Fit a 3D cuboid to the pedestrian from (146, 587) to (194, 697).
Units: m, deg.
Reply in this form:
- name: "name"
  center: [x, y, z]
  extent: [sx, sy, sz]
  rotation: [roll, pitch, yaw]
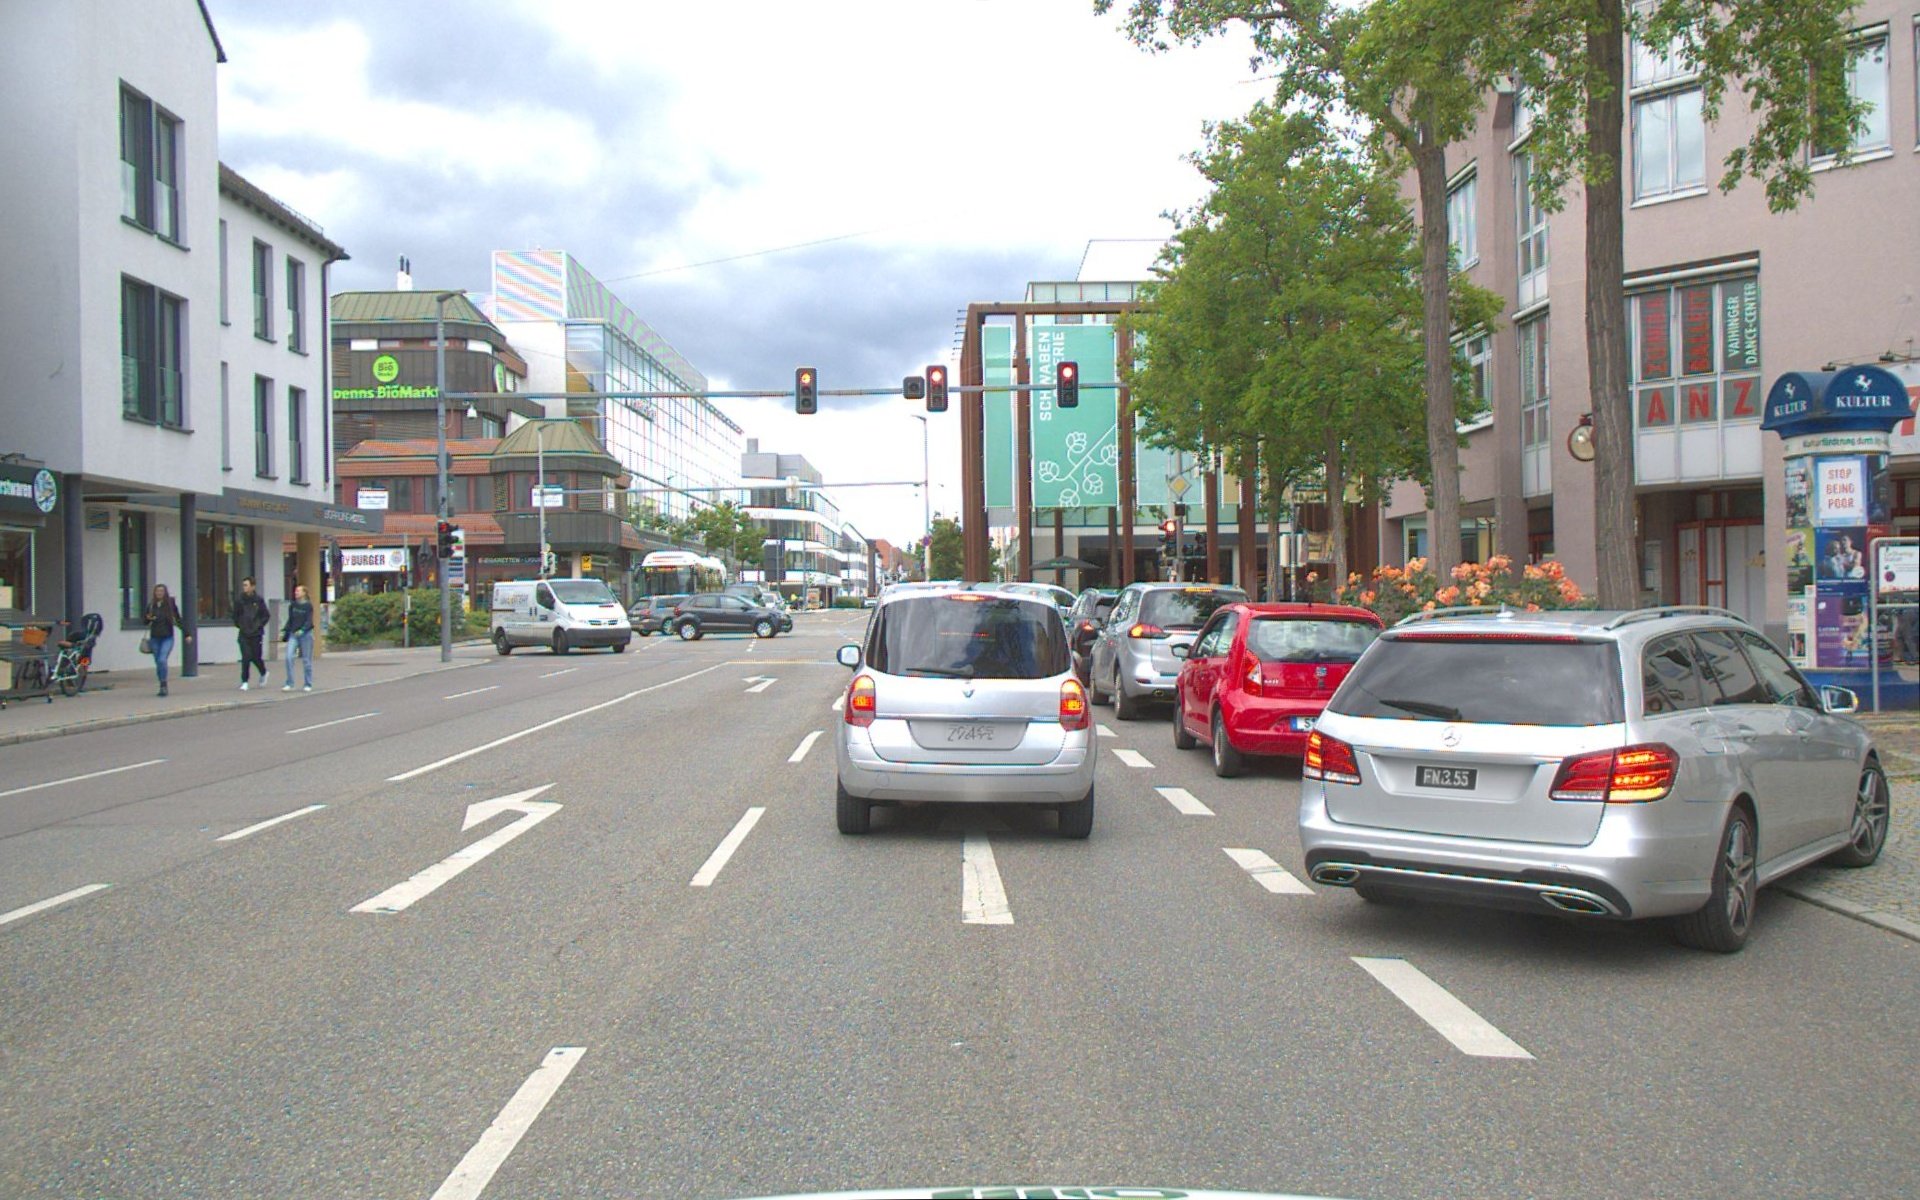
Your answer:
- name: "pedestrian"
  center: [-12.272, 0.647, 25.707]
  extent: [0.643, 1.679, 0.555]
  rotation: [-1, 0, -25]

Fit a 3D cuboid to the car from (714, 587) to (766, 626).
- name: "car"
  center: [-10.037, 0.261, 75.820]
  extent: [1.953, 1.735, 4.063]
  rotation: [0, 0, -2]

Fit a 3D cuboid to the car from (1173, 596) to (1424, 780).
- name: "car"
  center: [2.982, 0.716, 15.182]
  extent: [1.554, 1.468, 3.348]
  rotation: [1, 0, -1]

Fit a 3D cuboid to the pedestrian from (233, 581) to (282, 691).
- name: "pedestrian"
  center: [-11.713, 0.598, 27.584]
  extent: [0.557, 1.806, 0.646]
  rotation: [-1, 0, -5]

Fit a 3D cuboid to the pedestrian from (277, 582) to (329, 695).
- name: "pedestrian"
  center: [-10.822, 0.624, 27.255]
  extent: [0.669, 1.821, 0.647]
  rotation: [-1, 0, -11]

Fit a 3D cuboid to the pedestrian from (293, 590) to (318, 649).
- name: "pedestrian"
  center: [-18.870, 0.553, 47.679]
  extent: [0.653, 1.678, 0.788]
  rotation: [-1, 0, -22]

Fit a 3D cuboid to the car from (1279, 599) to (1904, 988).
- name: "car"
  center: [3.518, 0.778, 8.662]
  extent: [1.787, 1.474, 4.347]
  rotation: [1, 0, 39]

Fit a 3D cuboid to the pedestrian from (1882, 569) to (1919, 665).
- name: "pedestrian"
  center: [15.448, 0.271, 26.867]
  extent: [0.603, 1.542, 0.615]
  rotation: [0, 0, -31]

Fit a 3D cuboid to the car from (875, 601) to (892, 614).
- name: "car"
  center: [-9.236, 0.872, 199.901]
  extent: [1.764, 1.567, 4.065]
  rotation: [0, 0, 1]

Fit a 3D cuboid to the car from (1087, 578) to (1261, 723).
- name: "car"
  center: [2.654, 0.584, 21.285]
  extent: [1.555, 1.662, 3.915]
  rotation: [1, 0, -2]

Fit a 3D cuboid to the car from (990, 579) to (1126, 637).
- name: "car"
  center: [3.132, 0.240, 53.290]
  extent: [4.296, 1.804, 1.327]
  rotation: [-1, 0, -1]

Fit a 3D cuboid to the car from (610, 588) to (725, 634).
- name: "car"
  center: [-11.140, 0.392, 63.291]
  extent: [1.885, 1.706, 4.225]
  rotation: [0, 0, 36]

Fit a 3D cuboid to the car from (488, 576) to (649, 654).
- name: "car"
  center: [-10.515, 0.405, 44.196]
  extent: [1.983, 1.921, 5.079]
  rotation: [-2, 0, -42]

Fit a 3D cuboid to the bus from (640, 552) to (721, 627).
- name: "bus"
  center: [-13.126, -0.495, 78.379]
  extent: [2.632, 3.318, 8.650]
  rotation: [0, 0, -2]

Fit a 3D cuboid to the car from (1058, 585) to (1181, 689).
- name: "car"
  center: [2.654, 0.574, 28.229]
  extent: [1.555, 1.623, 3.866]
  rotation: [1, 0, -2]

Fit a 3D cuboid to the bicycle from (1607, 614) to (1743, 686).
- name: "bicycle"
  center: [10.264, 0.714, 23.760]
  extent: [1.731, 1.014, 0.447]
  rotation: [-1, 0, 3]

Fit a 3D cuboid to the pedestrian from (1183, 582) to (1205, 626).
- name: "pedestrian"
  center: [9.030, 0.169, 63.763]
  extent: [0.641, 1.679, 0.557]
  rotation: [-1, 0, -15]

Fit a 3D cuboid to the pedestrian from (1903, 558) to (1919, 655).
- name: "pedestrian"
  center: [16.035, 0.104, 27.249]
  extent: [0.656, 1.591, 0.615]
  rotation: [0, 0, -30]

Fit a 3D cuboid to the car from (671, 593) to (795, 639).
- name: "car"
  center: [-7.275, 0.503, 53.295]
  extent: [3.752, 1.413, 1.684]
  rotation: [-1, 0, -1]

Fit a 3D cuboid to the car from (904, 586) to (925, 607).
- name: "car"
  center: [-4.356, -0.361, 158.430]
  extent: [1.953, 1.983, 4.949]
  rotation: [0, 0, -2]

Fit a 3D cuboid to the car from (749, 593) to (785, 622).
- name: "car"
  center: [-9.686, 0.383, 83.074]
  extent: [1.524, 1.417, 3.286]
  rotation: [0, 0, -2]

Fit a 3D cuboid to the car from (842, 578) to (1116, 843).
- name: "car"
  center: [0.087, 0.643, 11.450]
  extent: [1.606, 1.554, 3.393]
  rotation: [1, 0, -1]

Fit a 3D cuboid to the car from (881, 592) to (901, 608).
- name: "car"
  center: [-6.682, 0.004, 160.487]
  extent: [1.764, 1.567, 4.065]
  rotation: [0, 0, 1]

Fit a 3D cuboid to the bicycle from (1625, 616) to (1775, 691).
- name: "bicycle"
  center: [10.369, 0.752, 23.207]
  extent: [1.861, 1.014, 0.468]
  rotation: [-1, 0, 3]

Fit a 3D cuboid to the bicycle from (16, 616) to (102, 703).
- name: "bicycle"
  center: [-13.390, 0.862, 24.622]
  extent: [0.379, 1.207, 1.824]
  rotation: [-1, 0, -4]
